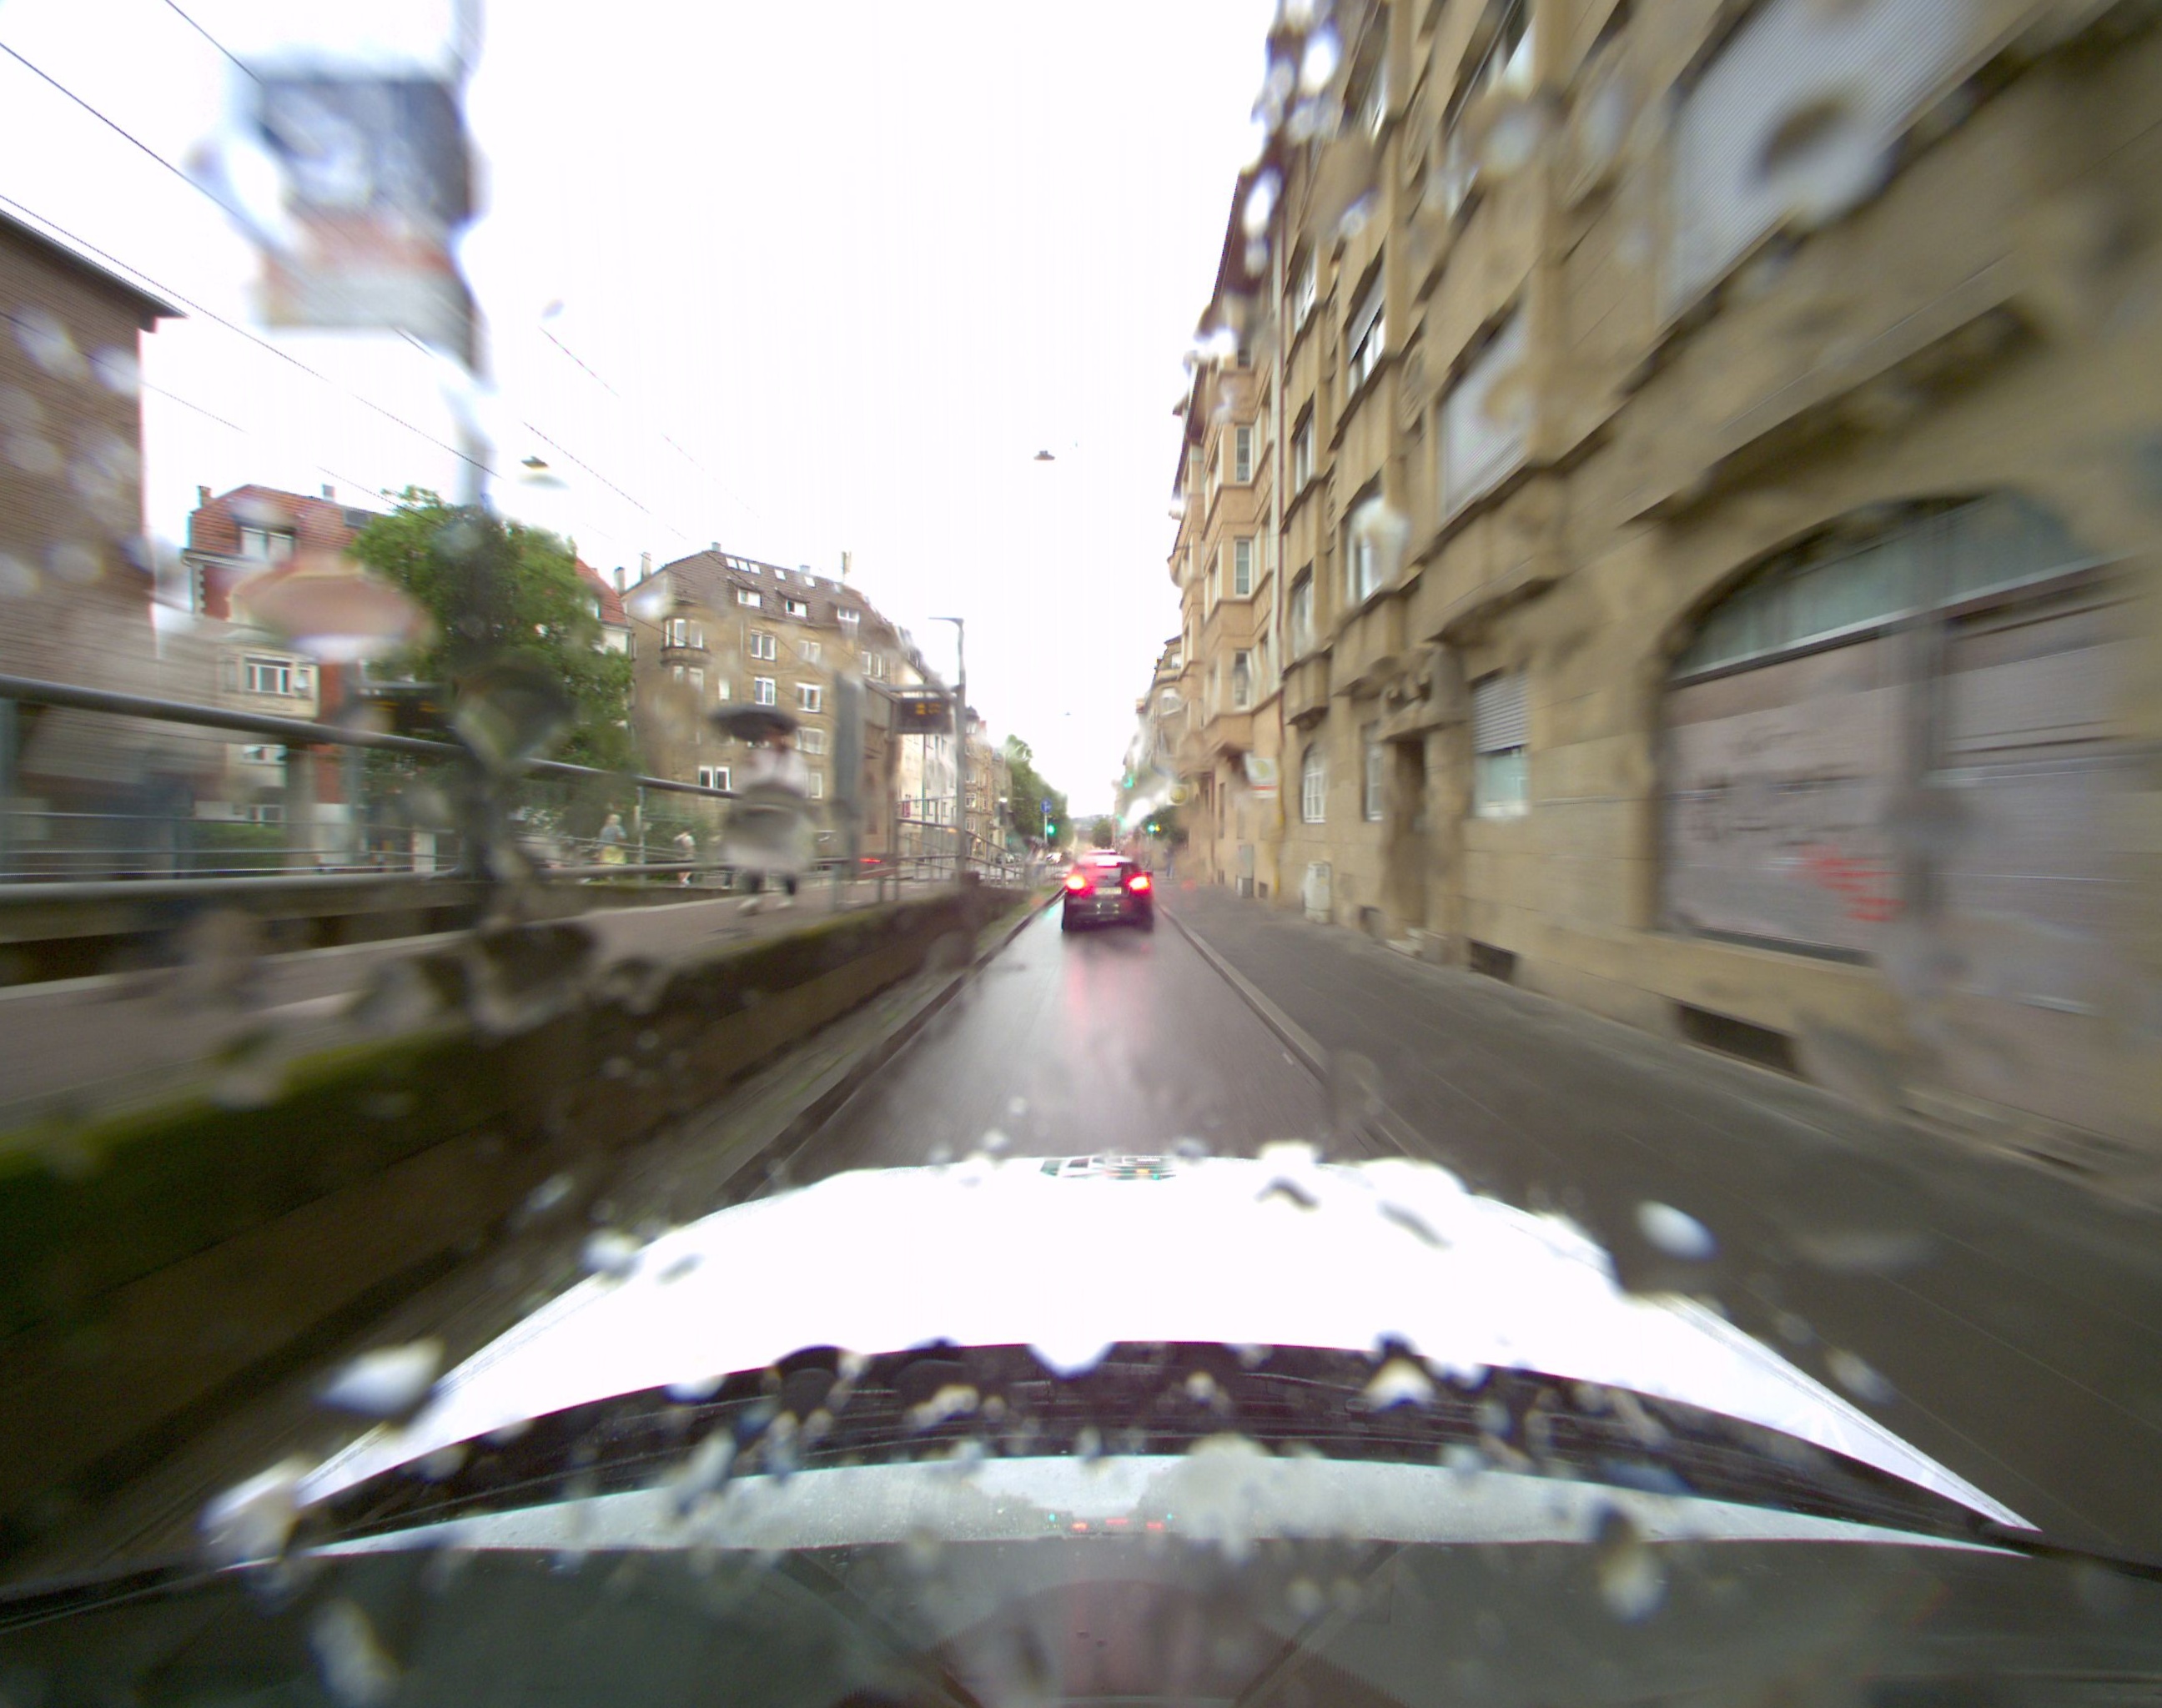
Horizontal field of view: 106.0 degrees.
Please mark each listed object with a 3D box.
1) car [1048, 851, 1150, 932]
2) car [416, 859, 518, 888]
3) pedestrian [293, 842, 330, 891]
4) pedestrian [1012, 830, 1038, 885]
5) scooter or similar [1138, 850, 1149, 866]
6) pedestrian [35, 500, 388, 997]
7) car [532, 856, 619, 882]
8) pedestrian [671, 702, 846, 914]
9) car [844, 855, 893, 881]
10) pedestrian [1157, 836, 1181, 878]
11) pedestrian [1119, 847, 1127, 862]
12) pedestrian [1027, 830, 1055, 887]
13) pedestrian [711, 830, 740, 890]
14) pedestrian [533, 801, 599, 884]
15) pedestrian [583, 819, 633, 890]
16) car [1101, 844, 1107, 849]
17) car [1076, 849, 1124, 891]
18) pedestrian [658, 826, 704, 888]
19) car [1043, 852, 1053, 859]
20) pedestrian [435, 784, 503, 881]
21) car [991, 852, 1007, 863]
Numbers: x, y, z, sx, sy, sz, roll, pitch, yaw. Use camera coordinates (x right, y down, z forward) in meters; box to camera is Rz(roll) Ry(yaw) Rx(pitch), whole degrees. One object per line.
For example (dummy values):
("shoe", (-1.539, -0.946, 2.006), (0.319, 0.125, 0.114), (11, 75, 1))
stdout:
("car", (0.438, 0.678, 16.833), (1.858, 1.452, 4.004), (0, 0, 3))
("car", (-33.399, 1.044, 44.404), (1.720, 1.403, 4.193), (-2, 0, 43))
("pedestrian", (-26.873, 0.420, 28.456), (0.602, 1.675, 0.688), (-2, 0, -1))
("pedestrian", (-2.100, 0.119, 30.571), (0.893, 2.013, 0.948), (0, 0, 1))
("scooter or similar", (4.700, 0.310, 61.141), (0.636, 1.210, 1.551), (-2, 0, -3))
("pedestrian", (-3.414, -0.380, 3.270), (0.641, 1.774, 0.711), (0, 0, 1))
("car", (-29.844, 0.880, 48.160), (1.720, 1.403, 4.024), (-2, 0, 43))
("pedestrian", (-2.861, -0.389, 7.378), (1.110, 1.774, 1.112), (0, 0, 1))
("car", (-13.026, 0.832, 50.235), (1.637, 1.496, 4.766), (-1, 0, 2))
("pedestrian", (3.977, 0.127, 36.826), (0.896, 1.840, 0.968), (-4, 0, 1))
("pedestrian", (5.265, 0.043, 102.126), (0.942, 1.769, 1.015), (-1, 0, -1))
("pedestrian", (-1.441, 0.153, 29.245), (0.922, 2.013, 0.948), (0, 0, 1))
("pedestrian", (-10.846, 0.176, 24.887), (0.509, 1.818, 0.800), (0, 0, 2))
("pedestrian", (-10.816, -0.227, 17.146), (0.741, 1.696, 0.883), (1, -2, 1))
("pedestrian", (-11.040, 0.019, 19.019), (0.741, 1.647, 0.641), (0, -2, 1))
("car", (6.554, -2.153, 233.482), (1.607, 1.317, 4.001), (1, 0, 1))
("car", (0.721, 0.535, 29.775), (1.643, 1.452, 4.002), (0, 0, 2))
("pedestrian", (-10.434, 0.088, 21.283), (0.690, 1.583, 0.956), (0, -1, 1))
("car", (-7.532, 0.344, 186.820), (1.941, 1.396, 4.276), (-2, 0, 2))
("pedestrian", (-10.873, -0.370, 14.493), (0.663, 1.698, 0.688), (0, -1, -2))
("car", (-12.054, 0.463, 120.043), (1.715, 1.541, 3.937), (-2, 0, 3))
